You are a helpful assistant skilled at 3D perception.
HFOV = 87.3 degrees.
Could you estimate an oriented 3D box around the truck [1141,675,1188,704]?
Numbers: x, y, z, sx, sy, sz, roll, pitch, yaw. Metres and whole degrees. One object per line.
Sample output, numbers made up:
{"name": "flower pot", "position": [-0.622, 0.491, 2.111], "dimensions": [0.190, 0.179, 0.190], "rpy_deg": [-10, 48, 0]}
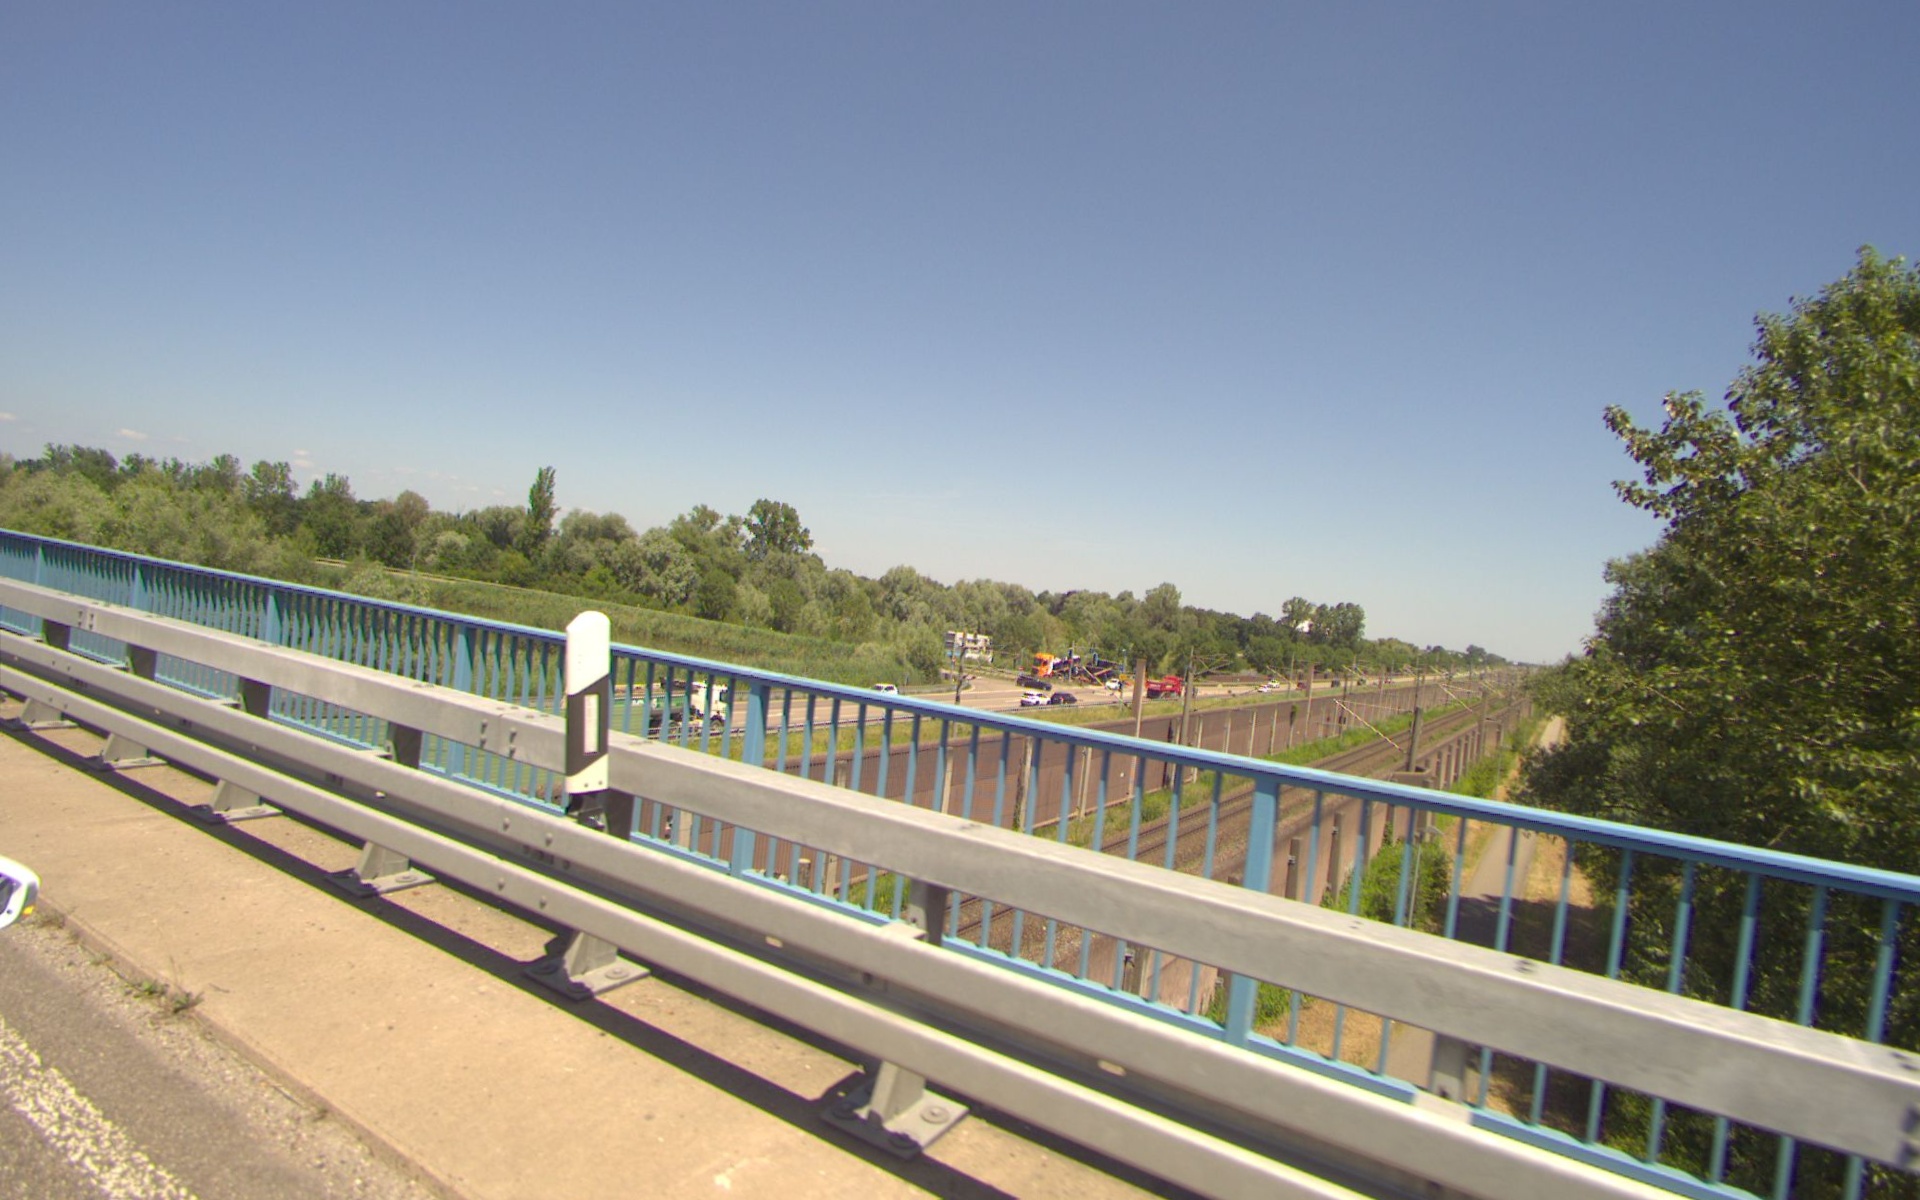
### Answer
{"name": "truck", "position": [29.246, 12.675, 143.564], "dimensions": [2.827, 3.468, 10.966], "rpy_deg": [8, 1, 30]}

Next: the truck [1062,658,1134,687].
{"name": "truck", "position": [20.775, 10.862, 151.059], "dimensions": [12.340, 3.398, 1.982], "rpy_deg": [7, -1, -34]}

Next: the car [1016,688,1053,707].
{"name": "car", "position": [8.022, 10.486, 108.443], "dimensions": [1.967, 1.638, 4.232], "rpy_deg": [9, 1, 33]}

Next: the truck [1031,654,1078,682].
{"name": "truck", "position": [13.838, 9.993, 147.066], "dimensions": [6.746, 3.398, 1.986], "rpy_deg": [7, -1, -29]}

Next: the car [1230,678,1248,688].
{"name": "car", "position": [55.944, 16.673, 201.721], "dimensions": [1.968, 1.638, 4.231], "rpy_deg": [9, 1, 35]}

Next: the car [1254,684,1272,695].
{"name": "car", "position": [57.480, 17.011, 191.053], "dimensions": [1.967, 1.638, 4.232], "rpy_deg": [9, 1, 33]}

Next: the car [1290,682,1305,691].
{"name": "car", "position": [72.872, 18.730, 217.200], "dimensions": [1.967, 1.638, 4.232], "rpy_deg": [9, 1, 33]}

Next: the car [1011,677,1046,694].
{"name": "car", "position": [8.740, 10.847, 127.480], "dimensions": [4.216, 1.638, 1.975], "rpy_deg": [7, 1, -43]}

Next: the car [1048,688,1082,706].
{"name": "car", "position": [11.922, 11.034, 114.238], "dimensions": [1.967, 1.638, 4.232], "rpy_deg": [9, 1, 33]}

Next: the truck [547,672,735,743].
{"name": "truck", "position": [-19.142, 6.371, 61.643], "dimensions": [2.827, 3.468, 11.914], "rpy_deg": [8, 1, 31]}

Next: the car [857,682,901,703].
{"name": "car", "position": [-7.701, 8.819, 95.999], "dimensions": [1.967, 1.638, 4.234], "rpy_deg": [9, 1, 32]}
